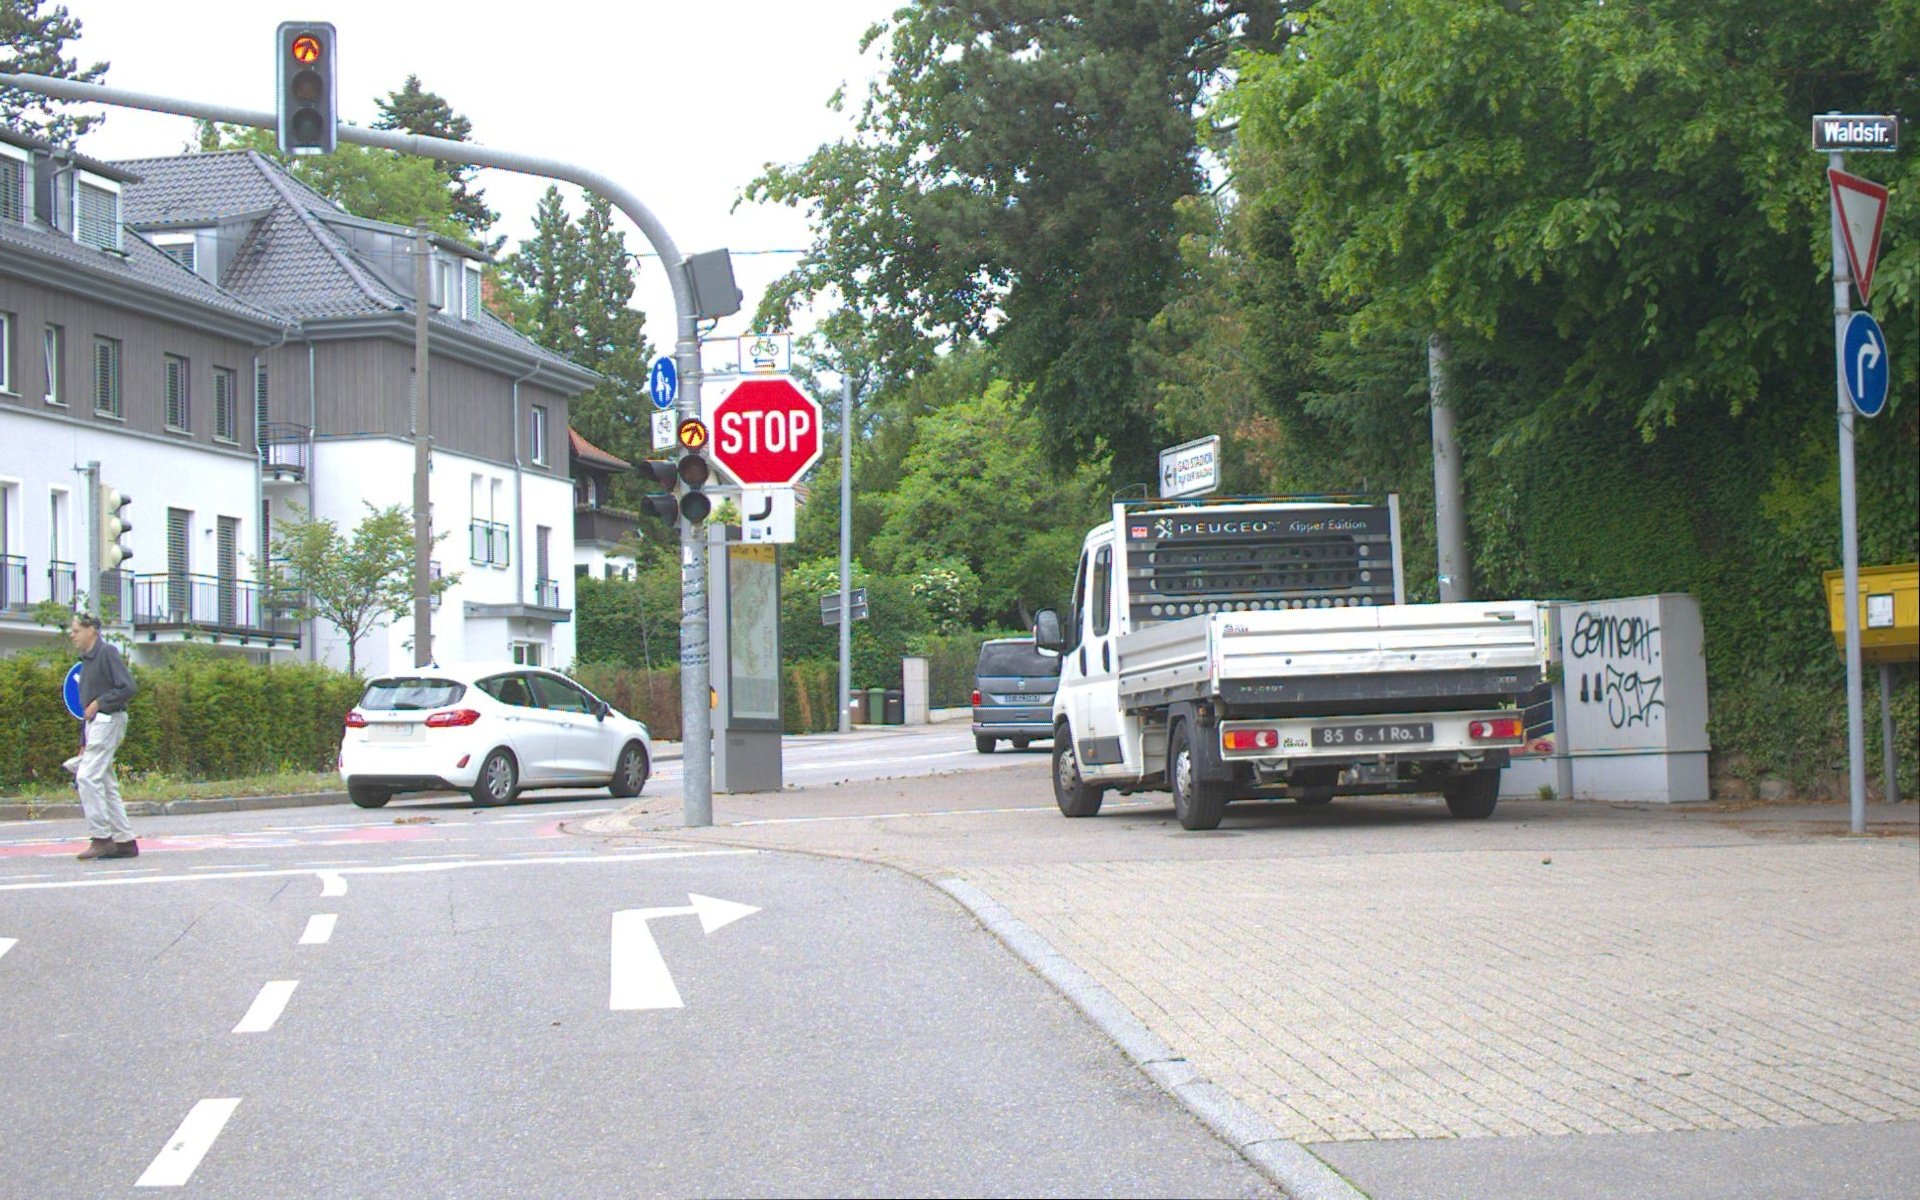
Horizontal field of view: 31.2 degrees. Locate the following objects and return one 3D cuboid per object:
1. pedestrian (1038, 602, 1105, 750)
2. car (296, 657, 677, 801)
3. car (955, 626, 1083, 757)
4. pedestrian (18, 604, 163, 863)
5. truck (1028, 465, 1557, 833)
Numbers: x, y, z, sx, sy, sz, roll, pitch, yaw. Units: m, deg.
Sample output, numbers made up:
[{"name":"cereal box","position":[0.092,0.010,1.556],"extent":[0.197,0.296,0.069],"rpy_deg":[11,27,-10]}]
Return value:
[{"name":"pedestrian","position":[1.526,1.039,47.278],"extent":[0.838,2.007,0.589],"rpy_deg":[-2,-1,0]},{"name":"car","position":[-4.832,1.304,35.623],"extent":[1.933,1.378,3.994],"rpy_deg":[-2,-1,28]},{"name":"car","position":[0.978,1.538,59.353],"extent":[1.993,2.007,4.510],"rpy_deg":[-1,1,-2]},{"name":"pedestrian","position":[-5.818,0.878,23.010],"extent":[0.698,1.676,0.686],"rpy_deg":[-1,1,-38]},{"name":"truck","position":[2.070,0.388,23.599],"extent":[2.183,2.188,5.882],"rpy_deg":[-1,-2,-9]}]
